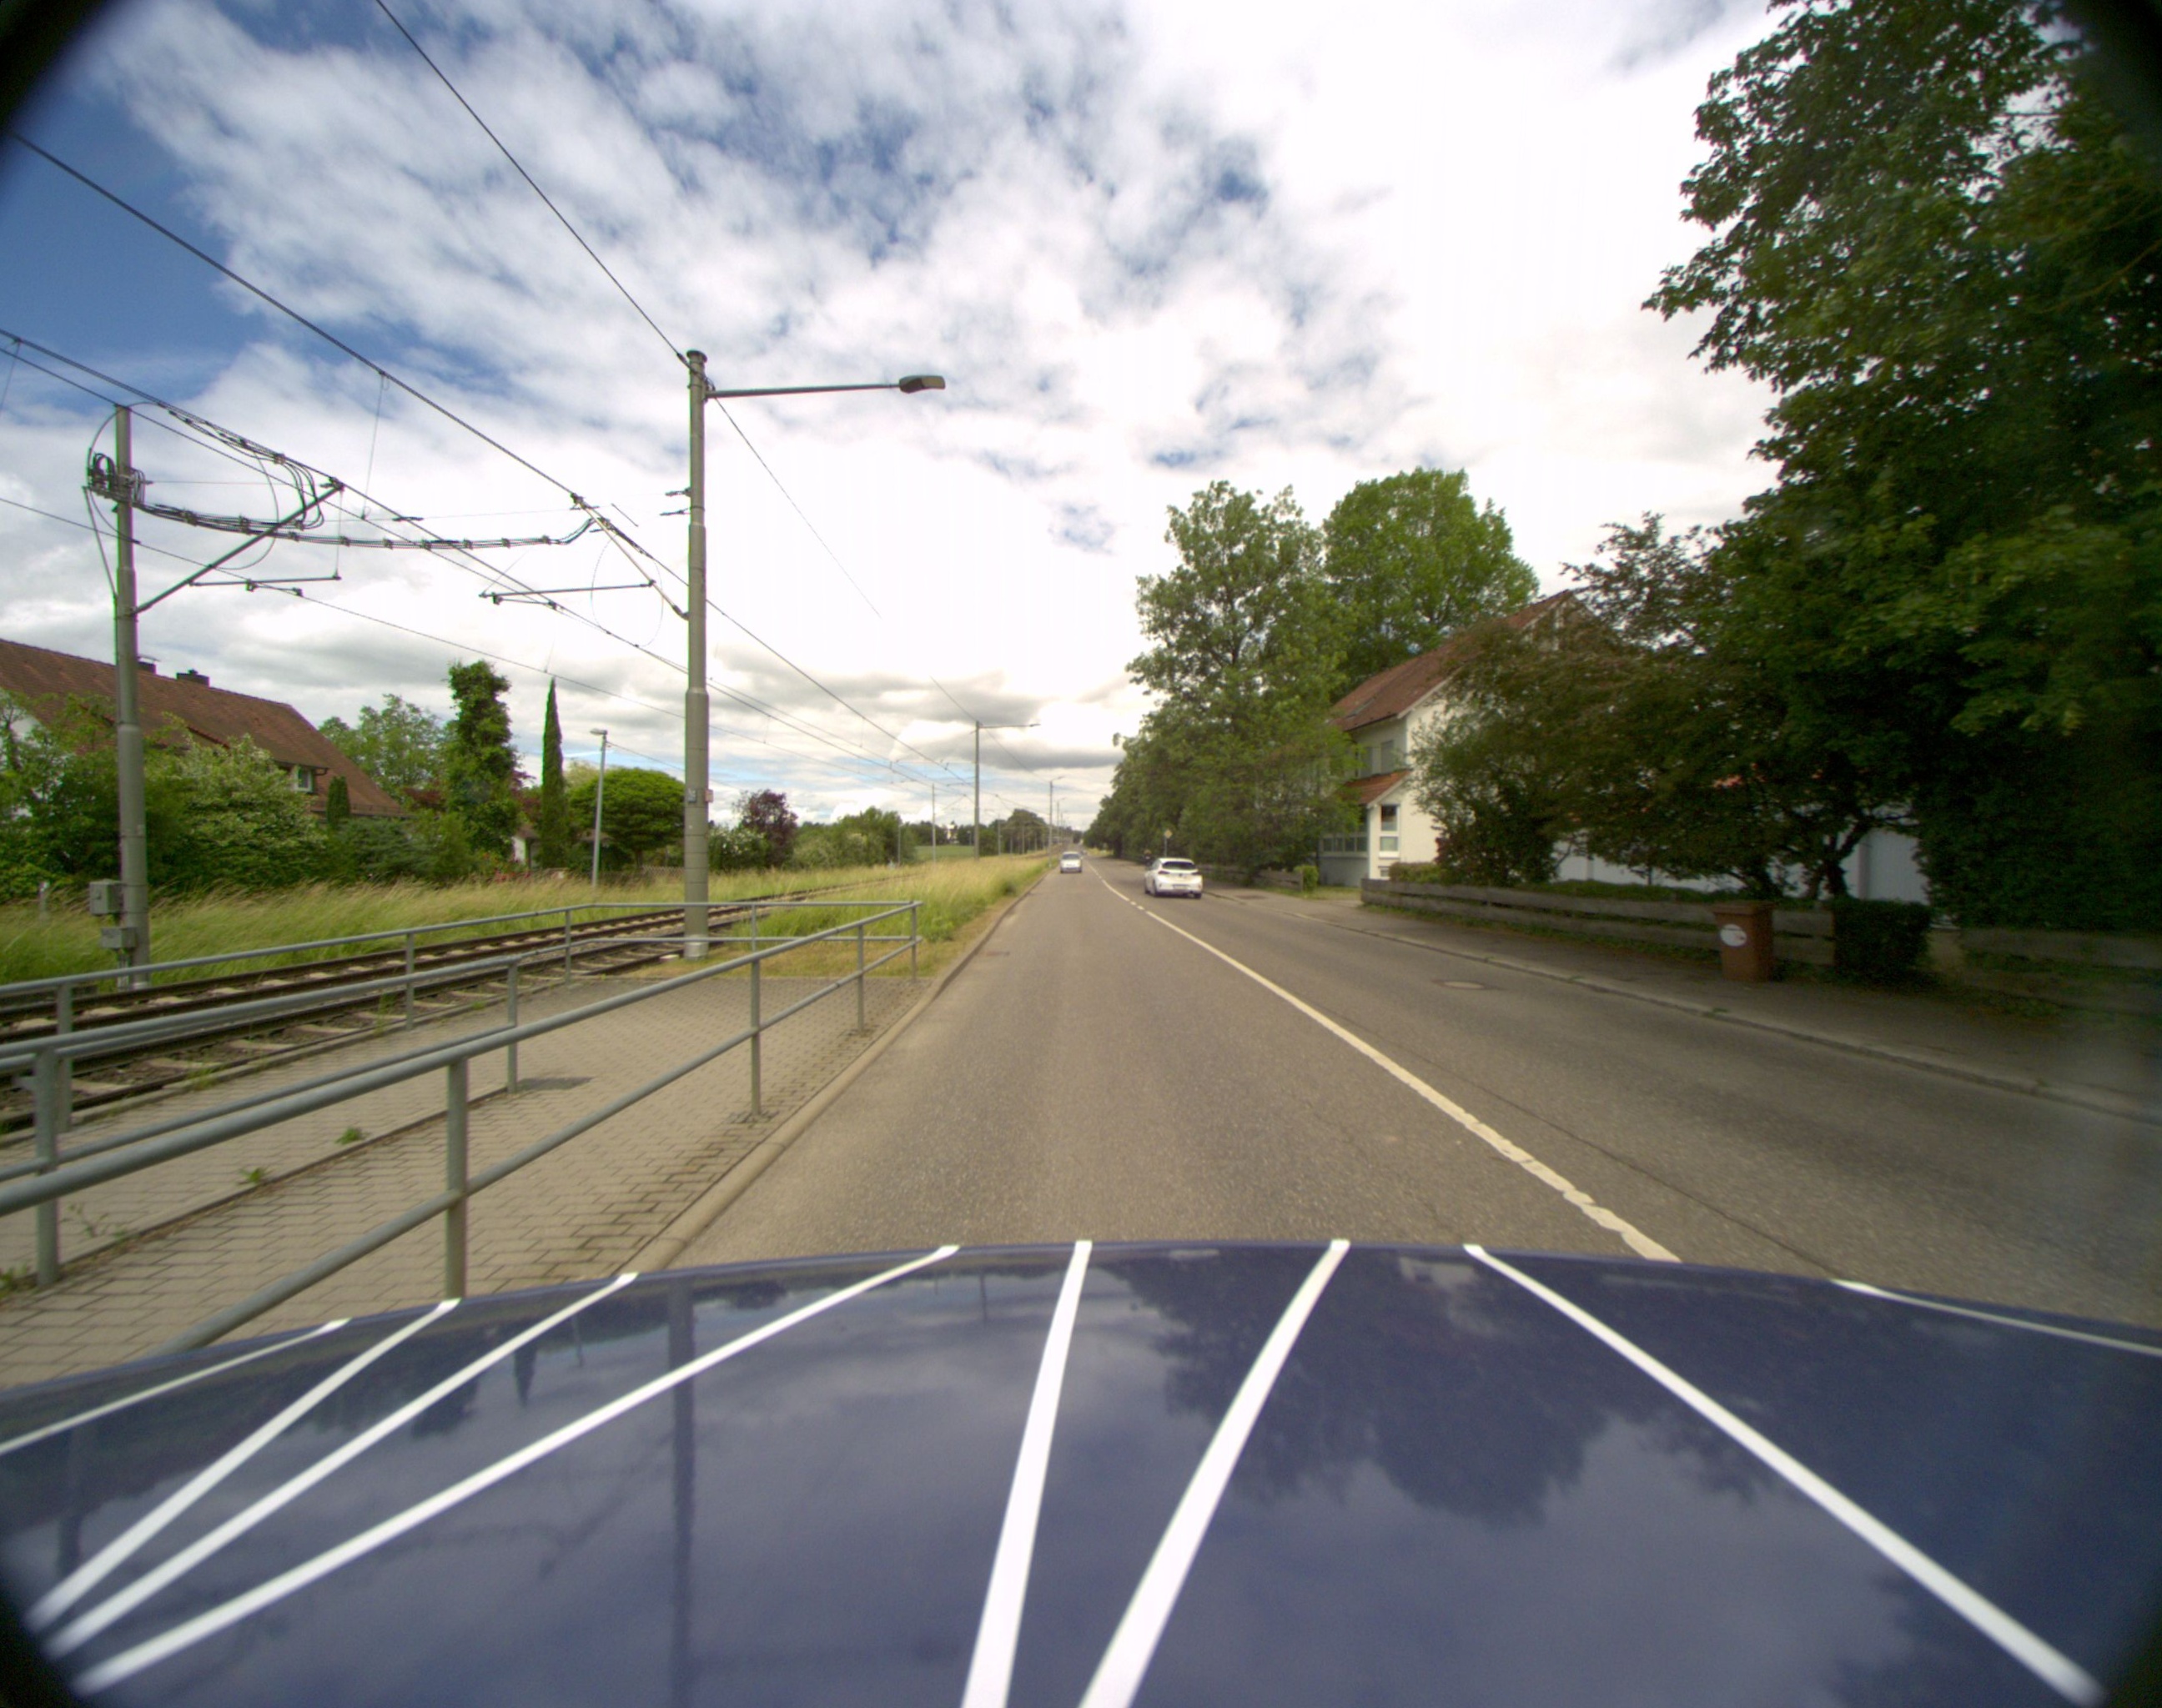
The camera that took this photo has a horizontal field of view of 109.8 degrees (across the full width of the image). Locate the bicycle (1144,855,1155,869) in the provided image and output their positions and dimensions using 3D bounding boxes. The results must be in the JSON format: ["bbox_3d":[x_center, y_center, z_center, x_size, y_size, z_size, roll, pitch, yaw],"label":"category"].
[{"bbox_3d":[6.048,0.719,67.428,0.757,1.219,2.308,2,0,0],"label":"bicycle"}]

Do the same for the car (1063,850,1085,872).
[{"bbox_3d":[-0.526,0.526,59.682,1.643,1.510,3.868,-2,1,0],"label":"car"}]

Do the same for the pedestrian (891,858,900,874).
[{"bbox_3d":[-19.059,1.189,77.889,0.617,1.613,0.585,-1,1,35],"label":"pedestrian"}]

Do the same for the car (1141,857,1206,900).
[{"bbox_3d":[3.403,0.876,28.457,1.698,1.422,3.785,2,0,-4],"label":"car"}]

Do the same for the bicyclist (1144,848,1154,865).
[{"bbox_3d":[6.046,0.199,67.451,0.780,1.540,0.869,0,1,-1],"label":"bicyclist"}]

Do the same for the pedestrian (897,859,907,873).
[{"bbox_3d":[-18.315,1.194,77.773,0.598,1.422,0.667,-1,1,33],"label":"pedestrian"}]

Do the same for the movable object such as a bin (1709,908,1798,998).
[{"bbox_3d":[7.698,1.122,8.713,0.515,0.939,0.568,-1,1,-1],"label":"movable object such as a bin"}]
